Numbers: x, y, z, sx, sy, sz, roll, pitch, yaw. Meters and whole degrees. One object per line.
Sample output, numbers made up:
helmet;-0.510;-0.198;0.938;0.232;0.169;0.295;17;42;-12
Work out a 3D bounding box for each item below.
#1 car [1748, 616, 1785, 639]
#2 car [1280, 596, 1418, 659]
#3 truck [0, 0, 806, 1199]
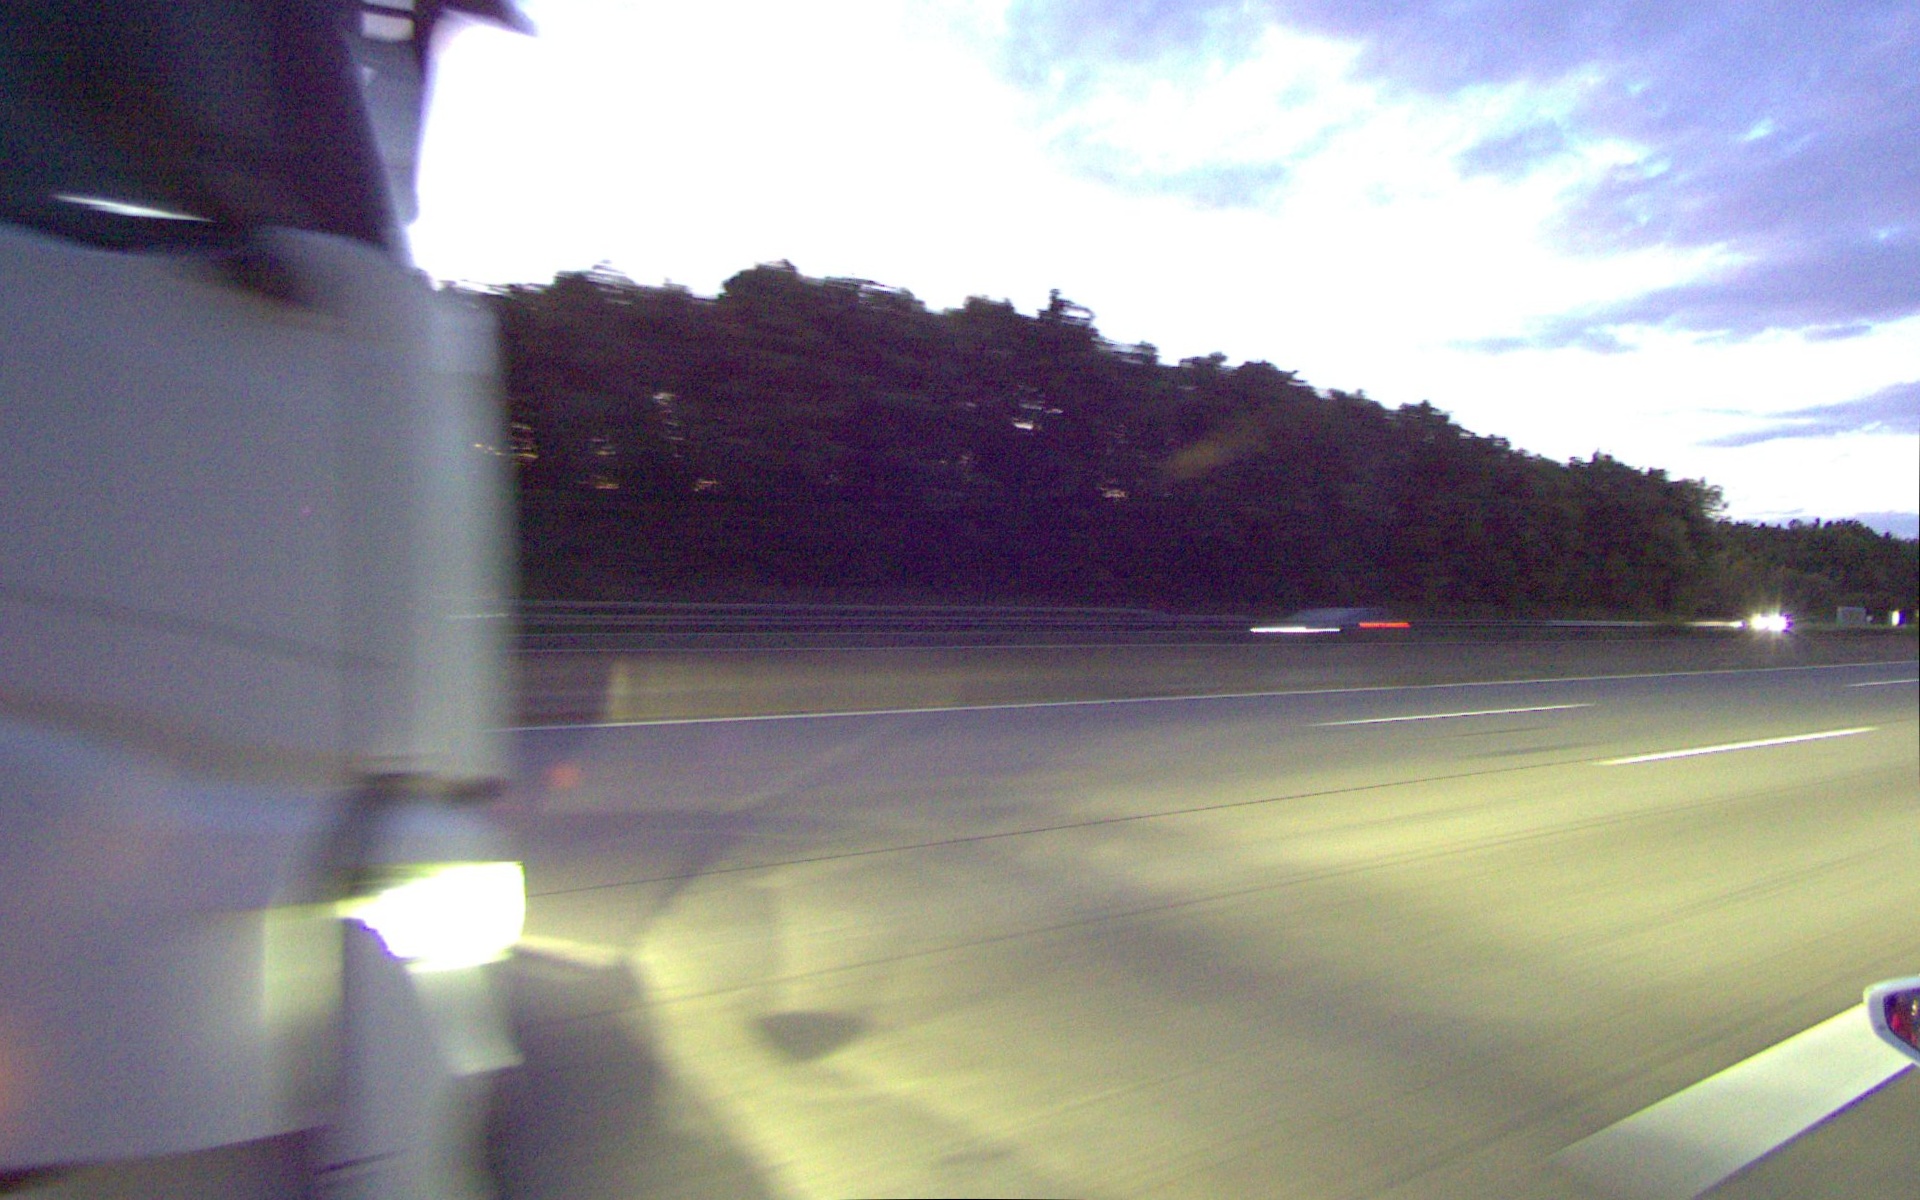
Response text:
car;76.548;2.606;95.417;1.964;2.040;5.001;1;0;30
car;13.247;0.942;34.163;4.442;2.040;1.984;2;0;-30
truck;-3.612;-0.517;1.622;6.083;3.954;2.765;1;0;-31
